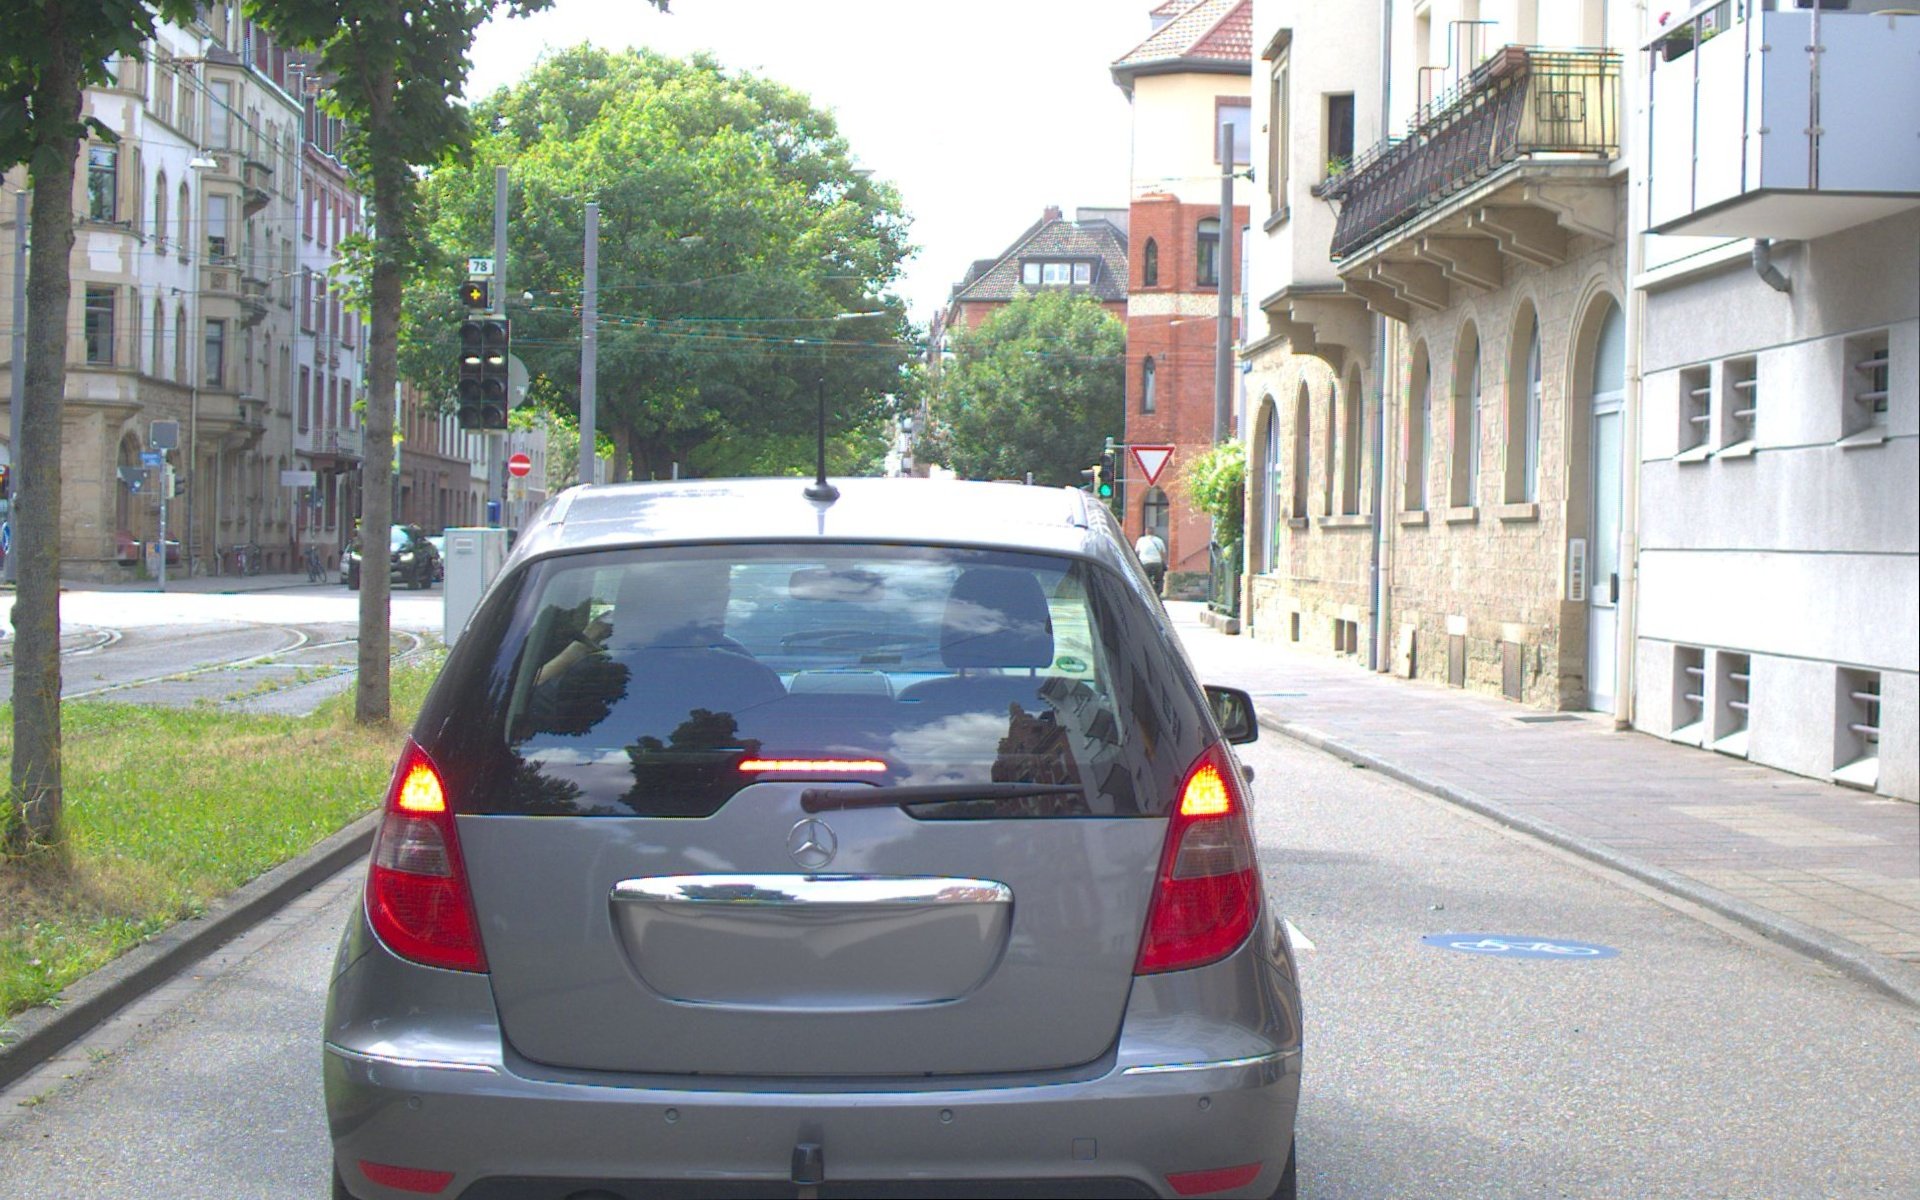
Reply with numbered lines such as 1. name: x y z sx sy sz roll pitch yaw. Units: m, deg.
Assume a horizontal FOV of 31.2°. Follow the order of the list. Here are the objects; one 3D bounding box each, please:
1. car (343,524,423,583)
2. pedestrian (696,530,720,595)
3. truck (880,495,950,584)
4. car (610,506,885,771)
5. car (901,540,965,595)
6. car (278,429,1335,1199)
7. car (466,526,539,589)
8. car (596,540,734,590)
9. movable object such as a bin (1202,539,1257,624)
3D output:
1. car: -16.106 -1.300 96.158 1.993 1.612 4.001 1 1 -7
2. pedestrian: -6.733 -0.994 91.830 0.493 1.719 0.654 1 1 -13
3. truck: -1.518 -2.074 117.397 2.123 2.960 4.000 1 1 2
4. car: -1.416 0.222 24.096 1.722 1.700 3.677 1 1 -1
5. car: -0.812 -0.998 104.452 1.752 1.627 3.499 1 1 2
6. car: -0.274 0.502 7.482 1.722 1.600 3.677 1 1 -1
7. car: -12.984 -1.220 97.700 1.993 1.722 4.001 1 1 -7
8. car: -8.509 -1.006 99.055 1.969 1.334 3.999 1 1 -40
9. movable object such as a bin: 4.702 -0.326 59.997 0.714 1.467 0.983 0 1 -10
